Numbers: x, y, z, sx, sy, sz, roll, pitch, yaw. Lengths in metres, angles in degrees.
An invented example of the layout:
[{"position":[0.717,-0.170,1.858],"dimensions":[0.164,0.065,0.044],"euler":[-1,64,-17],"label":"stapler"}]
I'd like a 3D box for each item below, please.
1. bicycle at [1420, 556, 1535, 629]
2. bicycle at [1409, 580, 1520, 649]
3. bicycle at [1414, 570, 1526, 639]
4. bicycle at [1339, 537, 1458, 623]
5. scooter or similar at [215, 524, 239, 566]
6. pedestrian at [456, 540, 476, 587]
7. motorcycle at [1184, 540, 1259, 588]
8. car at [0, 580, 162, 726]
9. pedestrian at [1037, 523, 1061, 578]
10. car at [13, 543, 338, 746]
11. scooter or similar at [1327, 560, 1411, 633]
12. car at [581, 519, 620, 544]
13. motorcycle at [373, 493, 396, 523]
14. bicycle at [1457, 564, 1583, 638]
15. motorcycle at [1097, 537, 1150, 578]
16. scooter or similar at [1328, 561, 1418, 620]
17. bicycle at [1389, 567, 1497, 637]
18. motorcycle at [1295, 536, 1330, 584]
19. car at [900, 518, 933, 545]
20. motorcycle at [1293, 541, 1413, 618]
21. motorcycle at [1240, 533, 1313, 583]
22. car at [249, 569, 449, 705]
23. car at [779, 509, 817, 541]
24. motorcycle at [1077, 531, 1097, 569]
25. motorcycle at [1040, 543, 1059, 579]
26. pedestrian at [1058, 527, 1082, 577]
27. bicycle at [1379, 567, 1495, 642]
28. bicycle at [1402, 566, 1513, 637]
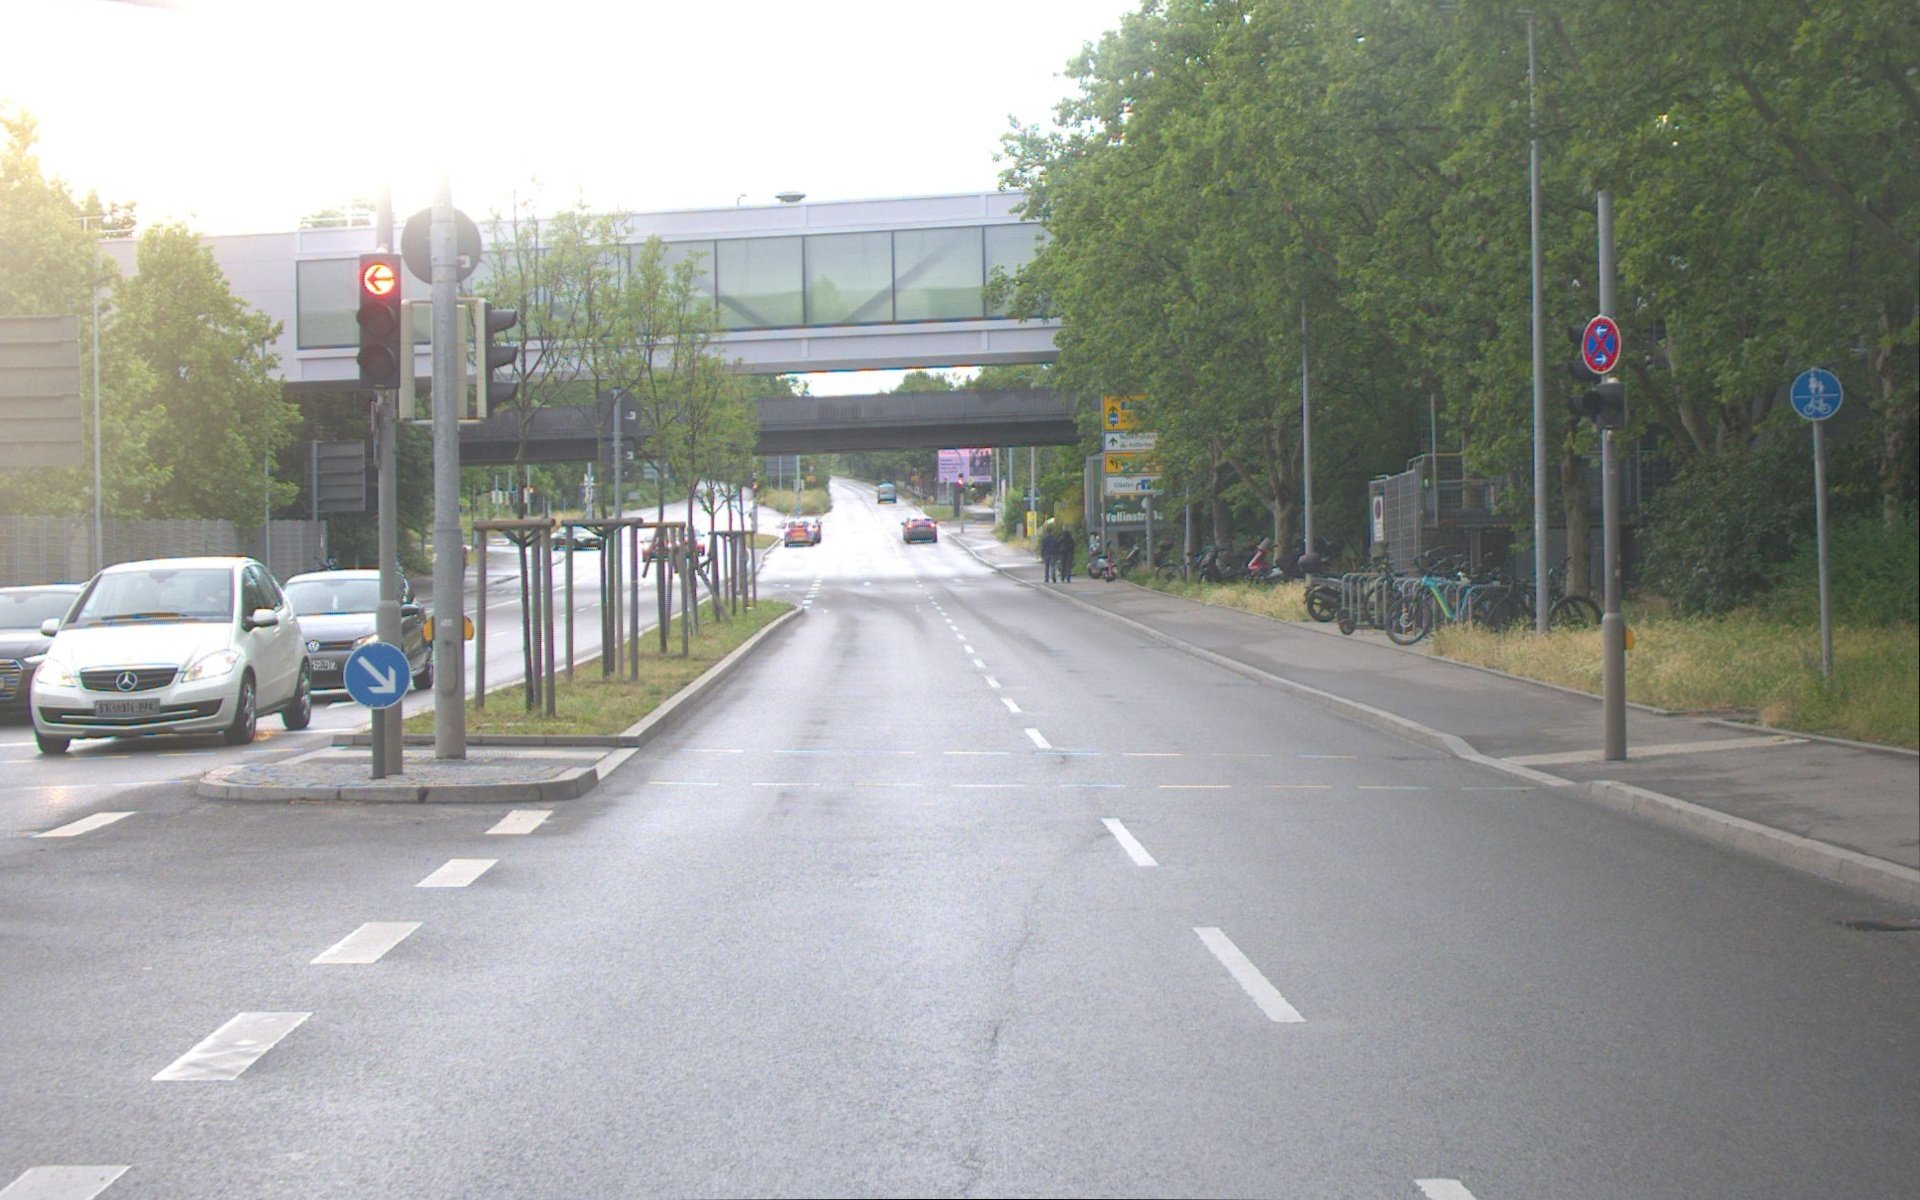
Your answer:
[{"position":[7.401,-0.110,49.220],"dimensions":[1.551,1.001,0.393],"euler":[-2,1,-1],"label":"bicycle"},{"position":[7.416,0.212,50.542],"dimensions":[1.551,0.955,0.393],"euler":[-2,1,-1],"label":"bicycle"},{"position":[7.438,0.069,50.145],"dimensions":[1.551,0.955,0.393],"euler":[-2,1,-1],"label":"bicycle"},{"position":[7.172,-0.330,56.227],"dimensions":[1.857,1.343,0.448],"euler":[-2,1,-13],"label":"bicycle"},{"position":[-21.282,-1.604,99.847],"dimensions":[0.311,1.214,1.308],"euler":[-2,1,3],"label":"scooter or similar"},{"position":[-19.182,-1.428,133.467],"dimensions":[0.520,1.809,0.799],"euler":[0,2,8],"label":"pedestrian"},{"position":[6.808,-0.938,89.441],"dimensions":[1.848,1.187,0.522],"euler":[-2,1,-17],"label":"motorcycle"},{"position":[-9.869,0.532,36.488],"dimensions":[1.773,1.399,4.615],"euler":[-2,1,-1],"label":"car"},{"position":[2.835,-1.587,109.883],"dimensions":[0.611,1.715,0.891],"euler":[-1,1,8],"label":"pedestrian"},{"position":[-6.778,0.343,30.163],"dimensions":[1.771,1.584,4.485],"euler":[-2,0,0],"label":"car"},{"position":[6.319,-0.059,53.122],"dimensions":[1.212,1.087,0.312],"euler":[-2,1,-5],"label":"scooter or similar"},{"position":[-21.357,-4.080,204.407],"dimensions":[2.063,1.357,4.758],"euler":[-2,1,-3],"label":"car"},{"position":[-22.455,-3.593,134.109],"dimensions":[0.468,1.154,1.932],"euler":[-2,2,2],"label":"motorcycle"},{"position":[7.554,0.010,46.420],"dimensions":[1.607,0.936,0.387],"euler":[-2,1,-1],"label":"bicycle"},{"position":[5.376,-1.395,112.989],"dimensions":[0.546,1.293,1.944],"euler":[-2,1,-39],"label":"motorcycle"},{"position":[7.000,-0.163,58.230],"dimensions":[1.472,0.933,0.367],"euler":[-2,1,-18],"label":"scooter or similar"},{"position":[7.304,0.031,52.024],"dimensions":[1.551,1.001,0.393],"euler":[-2,1,-1],"label":"bicycle"},{"position":[9.670,-1.100,94.381],"dimensions":[0.645,1.275,1.991],"euler":[-1,1,-2],"label":"motorcycle"},{"position":[-2.470,-3.911,195.322],"dimensions":[1.744,1.465,4.167],"euler":[-1,2,-2],"label":"car"},{"position":[6.853,-0.355,59.874],"dimensions":[2.009,1.268,0.441],"euler":[-2,1,11],"label":"motorcycle"},{"position":[7.311,-0.970,79.423],"dimensions":[1.653,1.146,0.493],"euler":[1,0,7],"label":"motorcycle"},{"position":[-6.901,0.378,39.157],"dimensions":[1.577,1.399,4.112],"euler":[-2,1,-1],"label":"car"},{"position":[-9.226,-4.267,195.331],"dimensions":[2.076,1.712,4.199],"euler":[1,0,-4],"label":"car"},{"position":[4.224,-1.664,114.290],"dimensions":[0.469,1.209,1.944],"euler":[-1,1,8],"label":"motorcycle"},{"position":[2.867,-1.255,109.904],"dimensions":[0.469,1.133,1.819],"euler":[-2,1,-2],"label":"motorcycle"},{"position":[3.507,-1.532,109.788],"dimensions":[0.651,1.590,0.578],"euler":[-1,1,10],"label":"pedestrian"},{"position":[6.686,0.061,48.204],"dimensions":[1.551,1.001,0.393],"euler":[-2,1,-1],"label":"bicycle"},{"position":[7.407,0.024,51.206],"dimensions":[1.551,1.001,0.393],"euler":[-2,1,-1],"label":"bicycle"}]
